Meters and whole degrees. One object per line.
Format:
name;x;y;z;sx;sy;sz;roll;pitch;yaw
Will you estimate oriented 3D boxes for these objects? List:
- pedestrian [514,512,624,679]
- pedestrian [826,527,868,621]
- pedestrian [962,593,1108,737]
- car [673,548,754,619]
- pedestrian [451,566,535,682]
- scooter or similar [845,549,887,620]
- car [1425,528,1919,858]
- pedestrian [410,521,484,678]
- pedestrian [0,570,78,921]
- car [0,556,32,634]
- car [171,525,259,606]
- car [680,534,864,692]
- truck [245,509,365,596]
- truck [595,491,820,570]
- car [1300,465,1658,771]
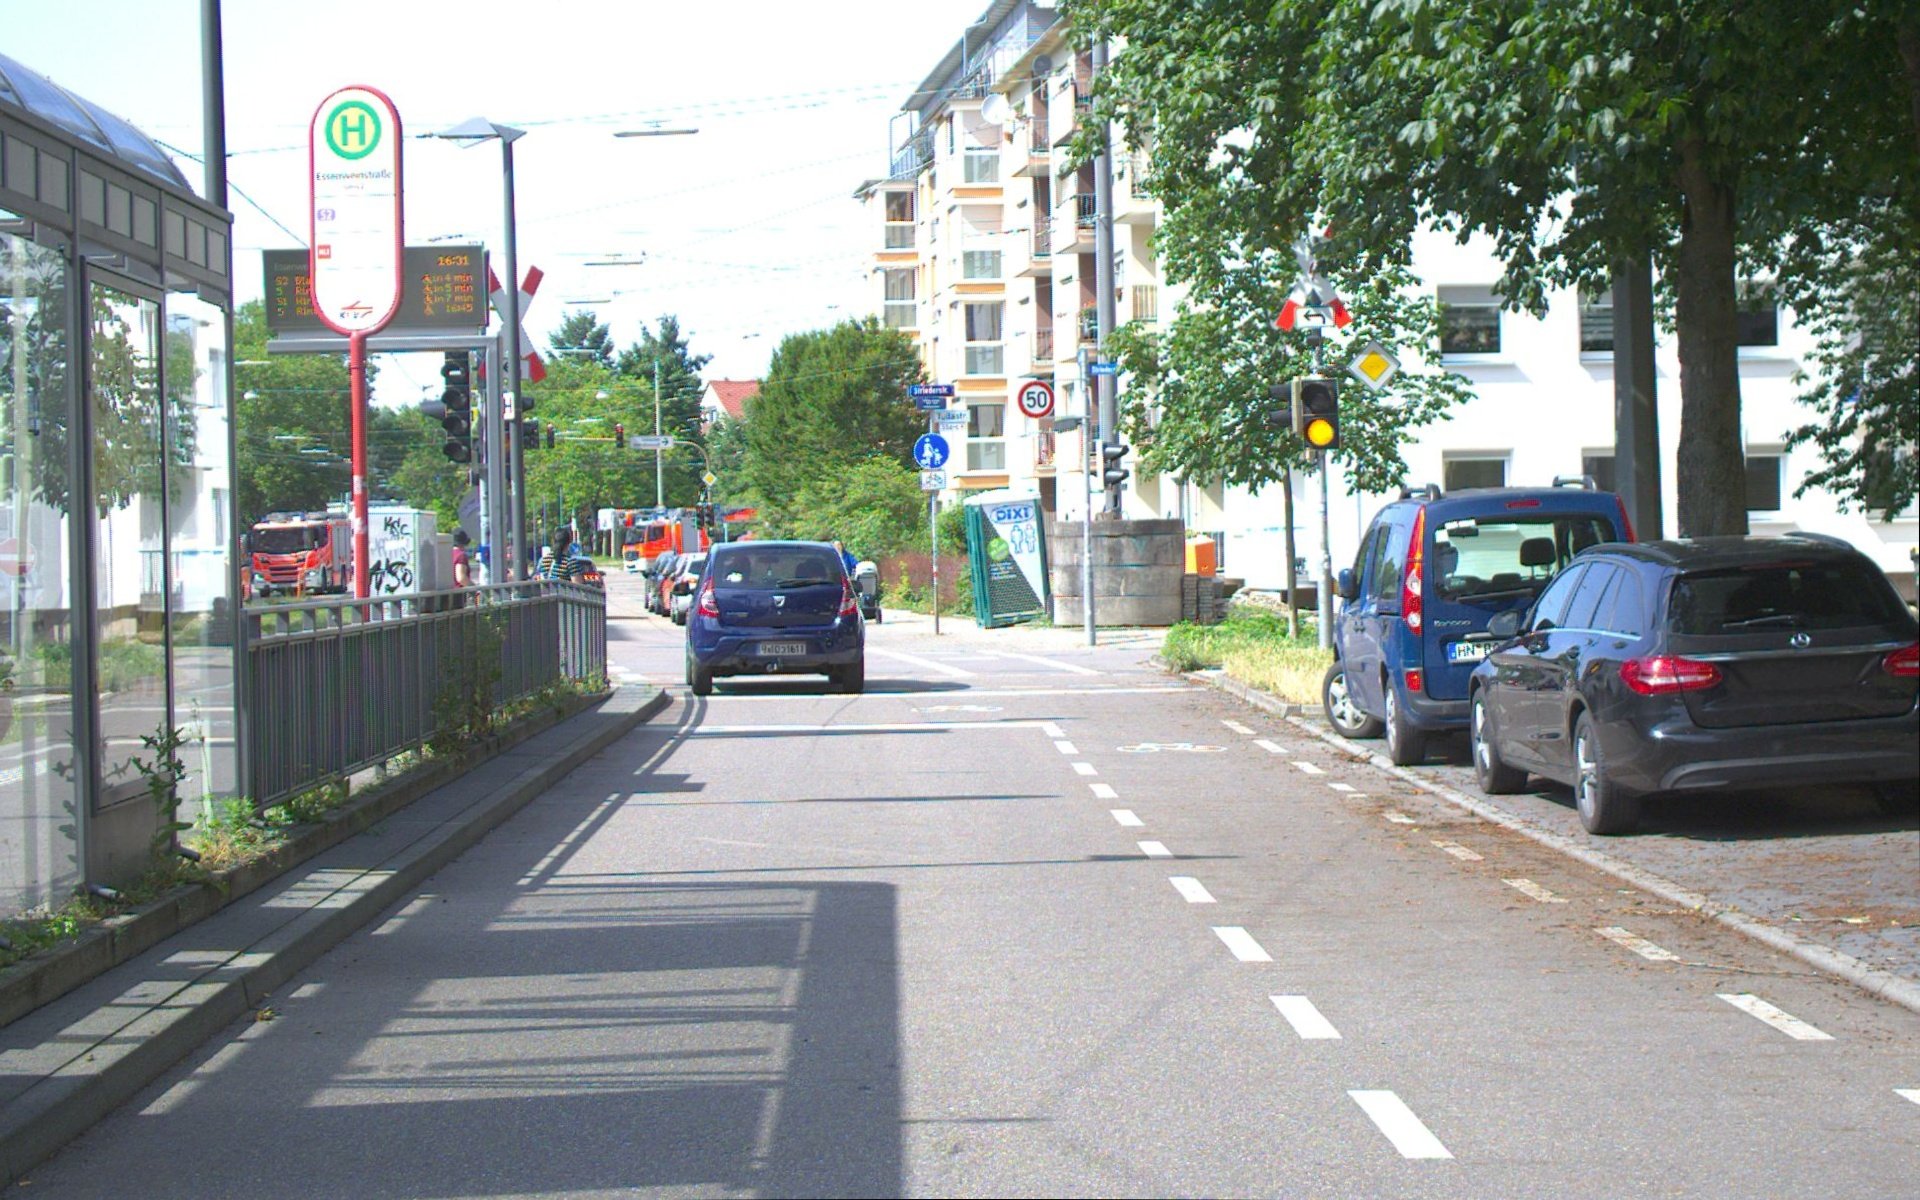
pedestrian;-3.990;-0.049;35.093;0.845;1.662;0.799;-2;0;-28
pedestrian;-2.209;-0.517;67.138;0.701;1.783;1.030;-4;1;-2
pedestrian;1.069;0.919;50.952;1.993;2.007;4.000;1;0;-1
car;-5.316;-0.359;73.933;1.622;1.460;3.511;1;0;-6
pedestrian;-4.865;0.247;35.782;0.636;1.176;0.799;-2;0;-24
scooter or similar;-1.813;-0.305;66.254;0.662;1.299;0.869;-4;1;-5
car;3.961;0.392;18.781;1.917;1.437;4.797;-4;2;-2
pedestrian;-5.475;-0.008;36.701;0.705;1.642;0.637;1;0;-5
pedestrian;-3.262;0.455;10.686;0.663;1.068;0.722;0;2;33
car;-21.178;-0.131;73.354;1.993;1.639;4.001;1;0;-5
car;-21.621;-1.007;99.931;1.993;2.267;4.835;1;1;-7
car;-1.927;0.109;34.921;1.743;1.502;4.001;1;0;-4
truck;-25.430;-1.853;133.910;2.596;3.175;8.382;-2;1;3
truck;-11.622;-3.163;158.894;10.133;3.459;2.676;0;0;-28
car;3.536;0.055;24.128;1.823;1.889;4.184;-2;2;0
